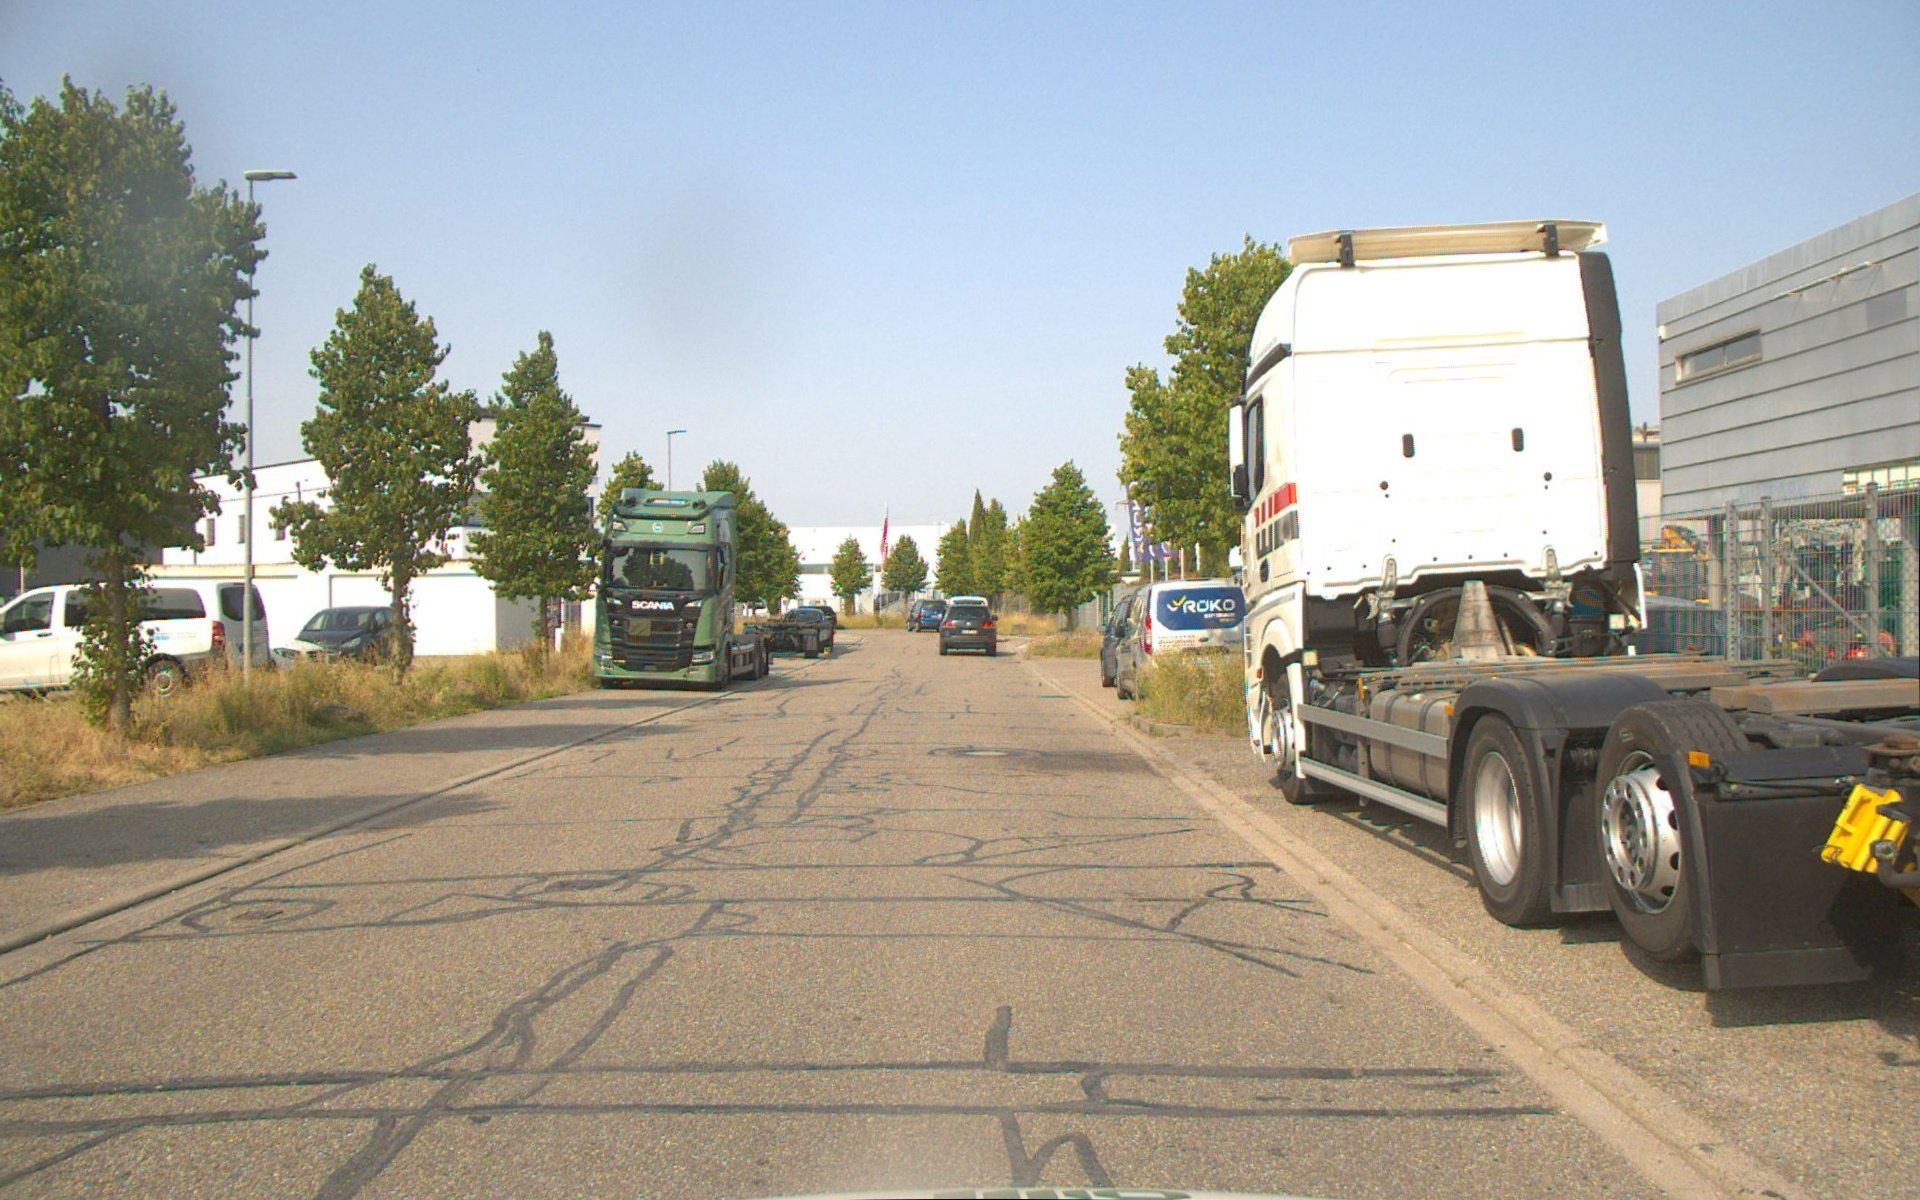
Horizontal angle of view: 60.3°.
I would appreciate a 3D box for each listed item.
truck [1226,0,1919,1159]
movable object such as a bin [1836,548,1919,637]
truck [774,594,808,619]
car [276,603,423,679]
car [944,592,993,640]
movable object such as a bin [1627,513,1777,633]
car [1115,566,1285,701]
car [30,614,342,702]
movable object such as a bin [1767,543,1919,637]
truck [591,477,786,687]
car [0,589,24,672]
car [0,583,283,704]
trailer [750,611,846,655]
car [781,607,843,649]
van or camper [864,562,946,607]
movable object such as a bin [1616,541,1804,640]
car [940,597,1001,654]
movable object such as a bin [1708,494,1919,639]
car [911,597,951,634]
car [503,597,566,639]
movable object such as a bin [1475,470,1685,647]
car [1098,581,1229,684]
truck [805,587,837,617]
[{"bbox_3d":[3.667,-0.689,8.727,2.690,4.085,9.685,-3,0,-1],"label":"truck"},{"bbox_3d":[31.040,-0.271,53.720,2.012,2.817,5.688,-1,0,-2],"label":"movable object such as a bin"},{"bbox_3d":[-16.517,0.610,162.387,2.400,2.305,8.002,0,0,1],"label":"truck"},{"bbox_3d":[-14.894,0.954,40.638,1.953,1.716,4.697,-1,0,-2],"label":"car"},{"bbox_3d":[0.314,0.645,70.293,1.953,1.933,4.466,-1,0,-1],"label":"car"},{"bbox_3d":[25.725,-0.897,57.644,2.629,3.941,5.718,-1,0,0],"label":"movable object such as a bin"},{"bbox_3d":[3.479,0.489,24.805,1.952,1.821,4.600,0,-1,1],"label":"car"},{"bbox_3d":[-13.726,1.013,29.504,4.628,1.456,2.001,-1,0,3],"label":"car"},{"bbox_3d":[28.507,-0.324,53.358,2.012,2.817,5.688,-1,0,-2],"label":"movable object such as a bin"},{"bbox_3d":[-5.653,-0.287,36.254,2.404,3.950,9.803,1,-1,1],"label":"truck"},{"bbox_3d":[-30.804,0.939,50.671,2.014,2.591,5.445,-1,-1,-11],"label":"car"},{"bbox_3d":[-13.786,0.681,26.968,4.607,1.868,2.103,0,0,0],"label":"car"},{"bbox_3d":[-5.394,1.081,56.086,2.085,1.254,7.161,1,0,4],"label":"trailer"},{"bbox_3d":[-5.708,1.072,64.199,1.952,1.492,4.432,1,0,0],"label":"car"},{"bbox_3d":[-3.788,-1.003,112.340,2.325,2.898,7.264,0,-1,-31],"label":"van or camper"},{"bbox_3d":[22.587,-0.295,50.216,2.646,2.763,6.347,-1,0,-2],"label":"movable object such as a bin"},{"bbox_3d":[0.346,0.832,55.697,1.953,1.836,4.000,1,0,0],"label":"car"},{"bbox_3d":[25.768,-0.959,49.969,2.859,3.998,7.205,-1,0,-2],"label":"movable object such as a bin"},{"bbox_3d":[-1.469,0.767,84.903,1.953,1.836,4.000,1,0,0],"label":"car"},{"bbox_3d":[-16.976,0.692,66.172,1.736,1.551,4.300,-1,1,-5],"label":"car"},{"bbox_3d":[18.520,-1.200,50.022,3.249,4.890,7.671,-1,0,-2],"label":"movable object such as a bin"},{"bbox_3d":[3.628,0.583,30.234,1.789,1.750,4.247,0,-1,-1],"label":"car"},{"bbox_3d":[-13.596,0.149,162.358,2.400,2.876,8.002,0,0,1],"label":"truck"}]
